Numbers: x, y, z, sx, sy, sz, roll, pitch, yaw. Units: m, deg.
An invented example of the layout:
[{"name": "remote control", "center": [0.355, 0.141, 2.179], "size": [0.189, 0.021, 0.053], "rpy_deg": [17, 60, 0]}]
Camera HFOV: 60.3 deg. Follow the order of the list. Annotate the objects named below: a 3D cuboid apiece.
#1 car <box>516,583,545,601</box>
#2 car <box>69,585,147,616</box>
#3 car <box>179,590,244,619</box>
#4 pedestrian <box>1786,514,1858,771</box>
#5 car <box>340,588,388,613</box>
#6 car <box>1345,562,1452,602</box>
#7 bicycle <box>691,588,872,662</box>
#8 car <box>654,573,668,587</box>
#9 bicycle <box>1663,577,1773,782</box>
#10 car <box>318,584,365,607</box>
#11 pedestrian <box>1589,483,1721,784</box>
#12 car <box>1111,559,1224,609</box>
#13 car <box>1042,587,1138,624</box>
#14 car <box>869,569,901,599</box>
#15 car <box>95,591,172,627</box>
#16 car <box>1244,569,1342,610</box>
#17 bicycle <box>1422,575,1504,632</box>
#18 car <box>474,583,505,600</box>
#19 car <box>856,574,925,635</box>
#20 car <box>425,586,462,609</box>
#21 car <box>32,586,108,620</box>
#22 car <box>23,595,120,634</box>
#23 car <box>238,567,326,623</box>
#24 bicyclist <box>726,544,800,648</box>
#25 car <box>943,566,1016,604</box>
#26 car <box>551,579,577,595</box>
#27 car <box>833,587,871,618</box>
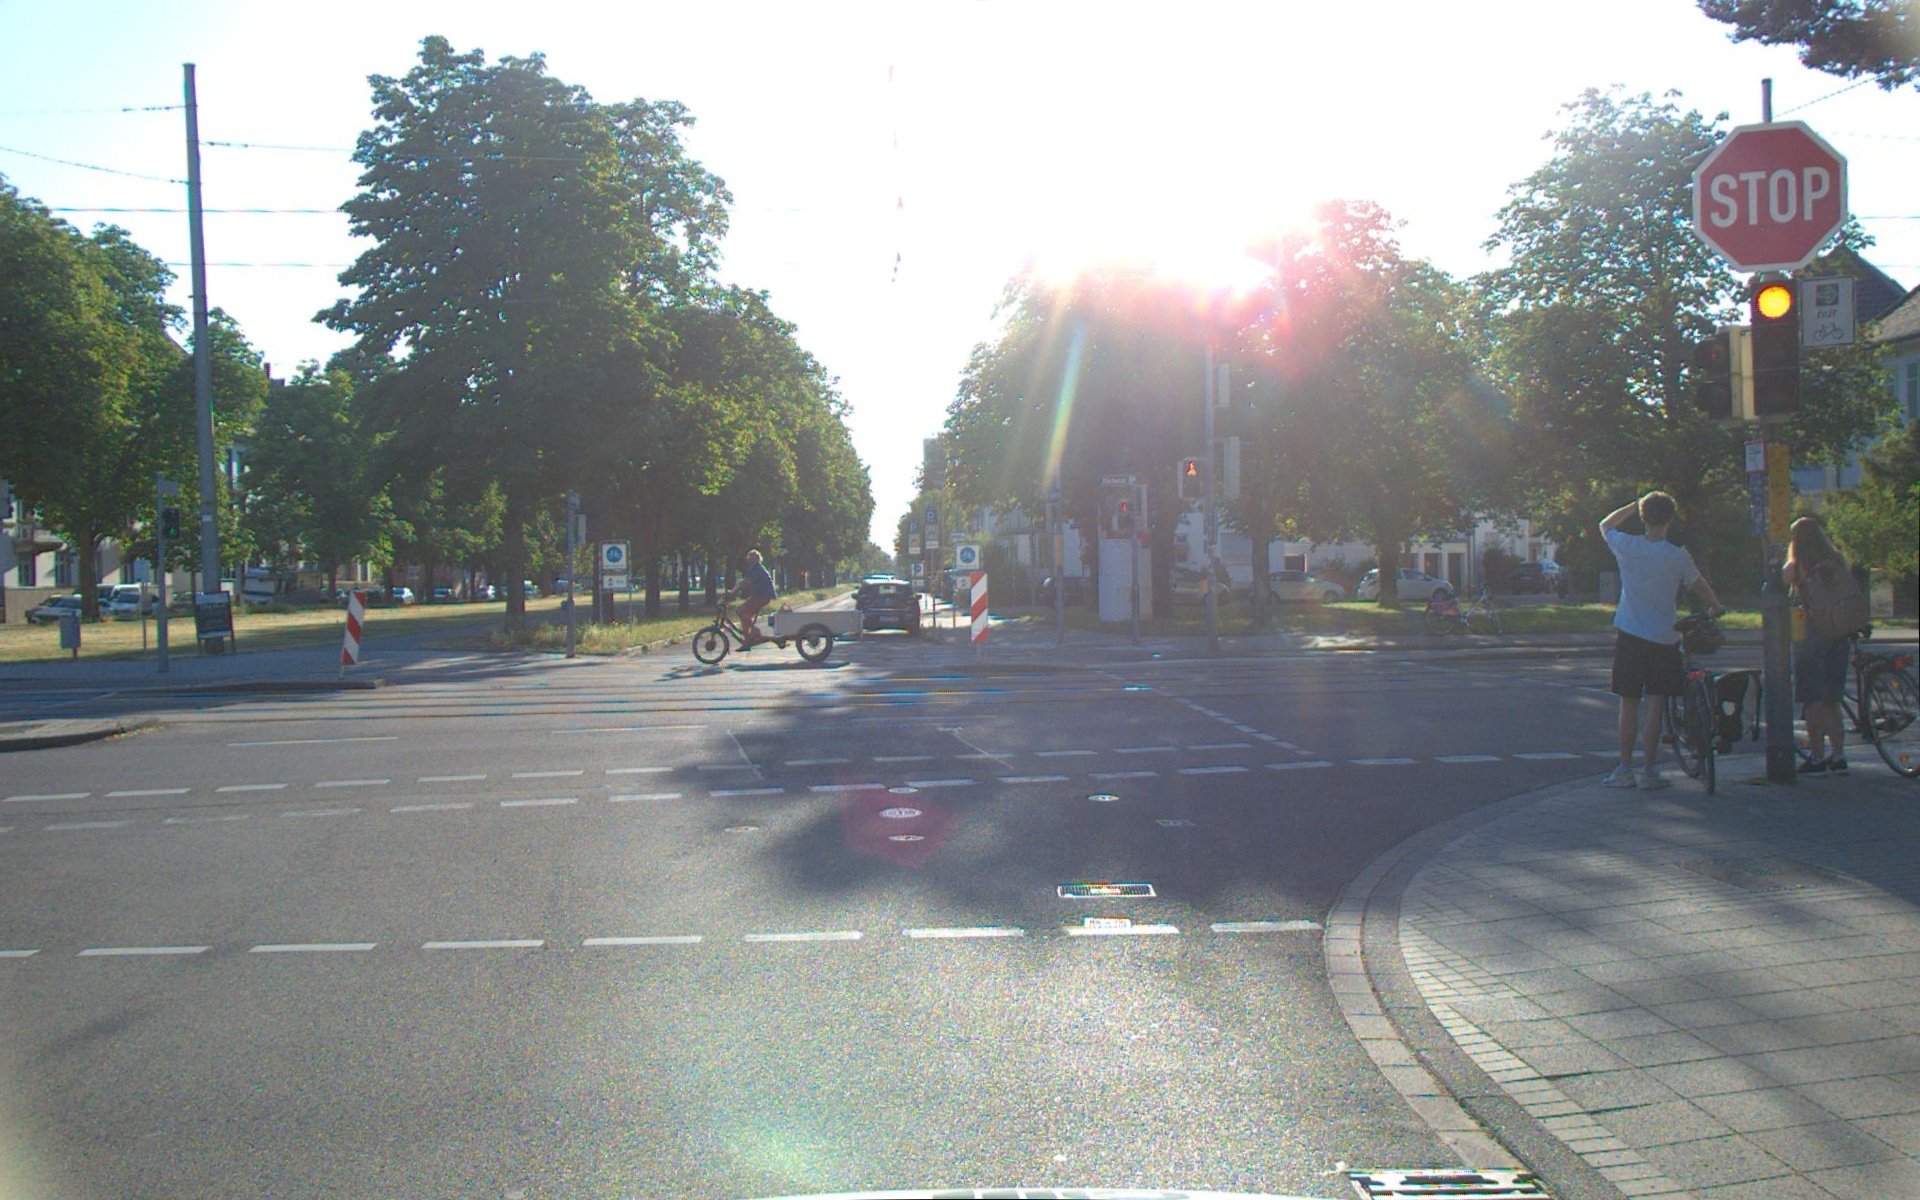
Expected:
[{"name": "car", "center": [-43.327, -0.814, 166.877], "size": [1.982, 1.688, 3.982], "rpy_deg": [1, 0, -2]}, {"name": "car", "center": [-47.301, 0.042, 91.939], "size": [1.953, 1.688, 4.569], "rpy_deg": [1, 0, -1]}, {"name": "car", "center": [-46.132, 0.281, 102.005], "size": [1.953, 1.688, 4.569], "rpy_deg": [1, 0, -1]}, {"name": "pedestrian", "center": [5.551, 0.265, 10.664], "size": [0.342, 1.613, 0.462], "rpy_deg": [1, -1, 20]}, {"name": "car", "center": [-41.755, 0.047, 115.979], "size": [1.841, 1.703, 4.313], "rpy_deg": [1, 0, -2]}, {"name": "car", "center": [17.540, -0.724, 66.231], "size": [3.847, 1.550, 1.521], "rpy_deg": [0, -1, -8]}, {"name": "bicycle", "center": [-3.100, 0.433, 28.862], "size": [3.009, 1.182, 0.875], "rpy_deg": [-2, 0, 2]}, {"name": "car", "center": [-45.832, -3.109, 253.271], "size": [1.621, 1.972, 3.565], "rpy_deg": [1, -1, -3]}, {"name": "bicycle", "center": [4.890, 0.455, 10.740], "size": [0.561, 1.204, 1.905], "rpy_deg": [1, 1, 22]}, {"name": "car", "center": [-47.053, -0.337, 125.975], "size": [1.953, 1.688, 4.373], "rpy_deg": [1, 0, -1]}, {"name": "pedestrian", "center": [4.605, 0.212, 11.007], "size": [0.614, 1.899, 0.775], "rpy_deg": [-4, 0, 18]}, {"name": "car", "center": [8.205, -0.634, 65.625], "size": [4.157, 1.908, 2.029], "rpy_deg": [-1, 0, -3]}, {"name": "car", "center": [5.536, 0.236, 70.744], "size": [3.907, 1.472, 1.715], "rpy_deg": [-1, 0, -3]}, {"name": "car", "center": [-4.715, -0.998, 103.652], "size": [1.954, 1.812, 3.998], "rpy_deg": [1, 1, -3]}, {"name": "car", "center": [-40.339, 0.415, 80.835], "size": [1.760, 1.581, 4.416], "rpy_deg": [1, 1, -4]}, {"name": "car", "center": [13.168, -0.404, 65.455], "size": [3.487, 1.542, 1.602], "rpy_deg": [-1, 0, -8]}, {"name": "bicycle", "center": [10.027, 0.064, 32.996], "size": [1.489, 1.108, 0.468], "rpy_deg": [-1, 0, 7]}, {"name": "car", "center": [-48.892, -0.899, 171.890], "size": [1.953, 1.688, 4.354], "rpy_deg": [1, 0, -1]}, {"name": "car", "center": [-1.820, 0.121, 44.510], "size": [1.690, 1.537, 4.539], "rpy_deg": [1, 0, -1]}, {"name": "car", "center": [-42.499, -0.192, 136.148], "size": [1.775, 1.812, 4.121], "rpy_deg": [1, 0, -2]}, {"name": "car", "center": [-45.970, 0.170, 85.548], "size": [1.681, 1.661, 4.190], "rpy_deg": [1, 0, -1]}, {"name": "car", "center": [-40.211, 0.657, 74.984], "size": [1.953, 1.688, 4.569], "rpy_deg": [1, 0, -1]}, {"name": "car", "center": [-41.080, -0.344, 100.493], "size": [2.344, 3.185, 7.850], "rpy_deg": [1, 1, -2]}, {"name": "bicyclist", "center": [-3.428, -0.074, 28.872], "size": [1.121, 1.753, 0.875], "rpy_deg": [-2, 0, 2]}, {"name": "car", "center": [1.097, -0.847, 93.579], "size": [3.911, 1.854, 1.757], "rpy_deg": [-2, -5, -7]}, {"name": "car", "center": [-44.625, -1.500, 186.504], "size": [1.954, 1.688, 4.568], "rpy_deg": [-1, 1, -3]}, {"name": "car", "center": [-5.085, 0.117, 78.122], "size": [1.675, 1.383, 4.201], "rpy_deg": [1, 0, -2]}]
